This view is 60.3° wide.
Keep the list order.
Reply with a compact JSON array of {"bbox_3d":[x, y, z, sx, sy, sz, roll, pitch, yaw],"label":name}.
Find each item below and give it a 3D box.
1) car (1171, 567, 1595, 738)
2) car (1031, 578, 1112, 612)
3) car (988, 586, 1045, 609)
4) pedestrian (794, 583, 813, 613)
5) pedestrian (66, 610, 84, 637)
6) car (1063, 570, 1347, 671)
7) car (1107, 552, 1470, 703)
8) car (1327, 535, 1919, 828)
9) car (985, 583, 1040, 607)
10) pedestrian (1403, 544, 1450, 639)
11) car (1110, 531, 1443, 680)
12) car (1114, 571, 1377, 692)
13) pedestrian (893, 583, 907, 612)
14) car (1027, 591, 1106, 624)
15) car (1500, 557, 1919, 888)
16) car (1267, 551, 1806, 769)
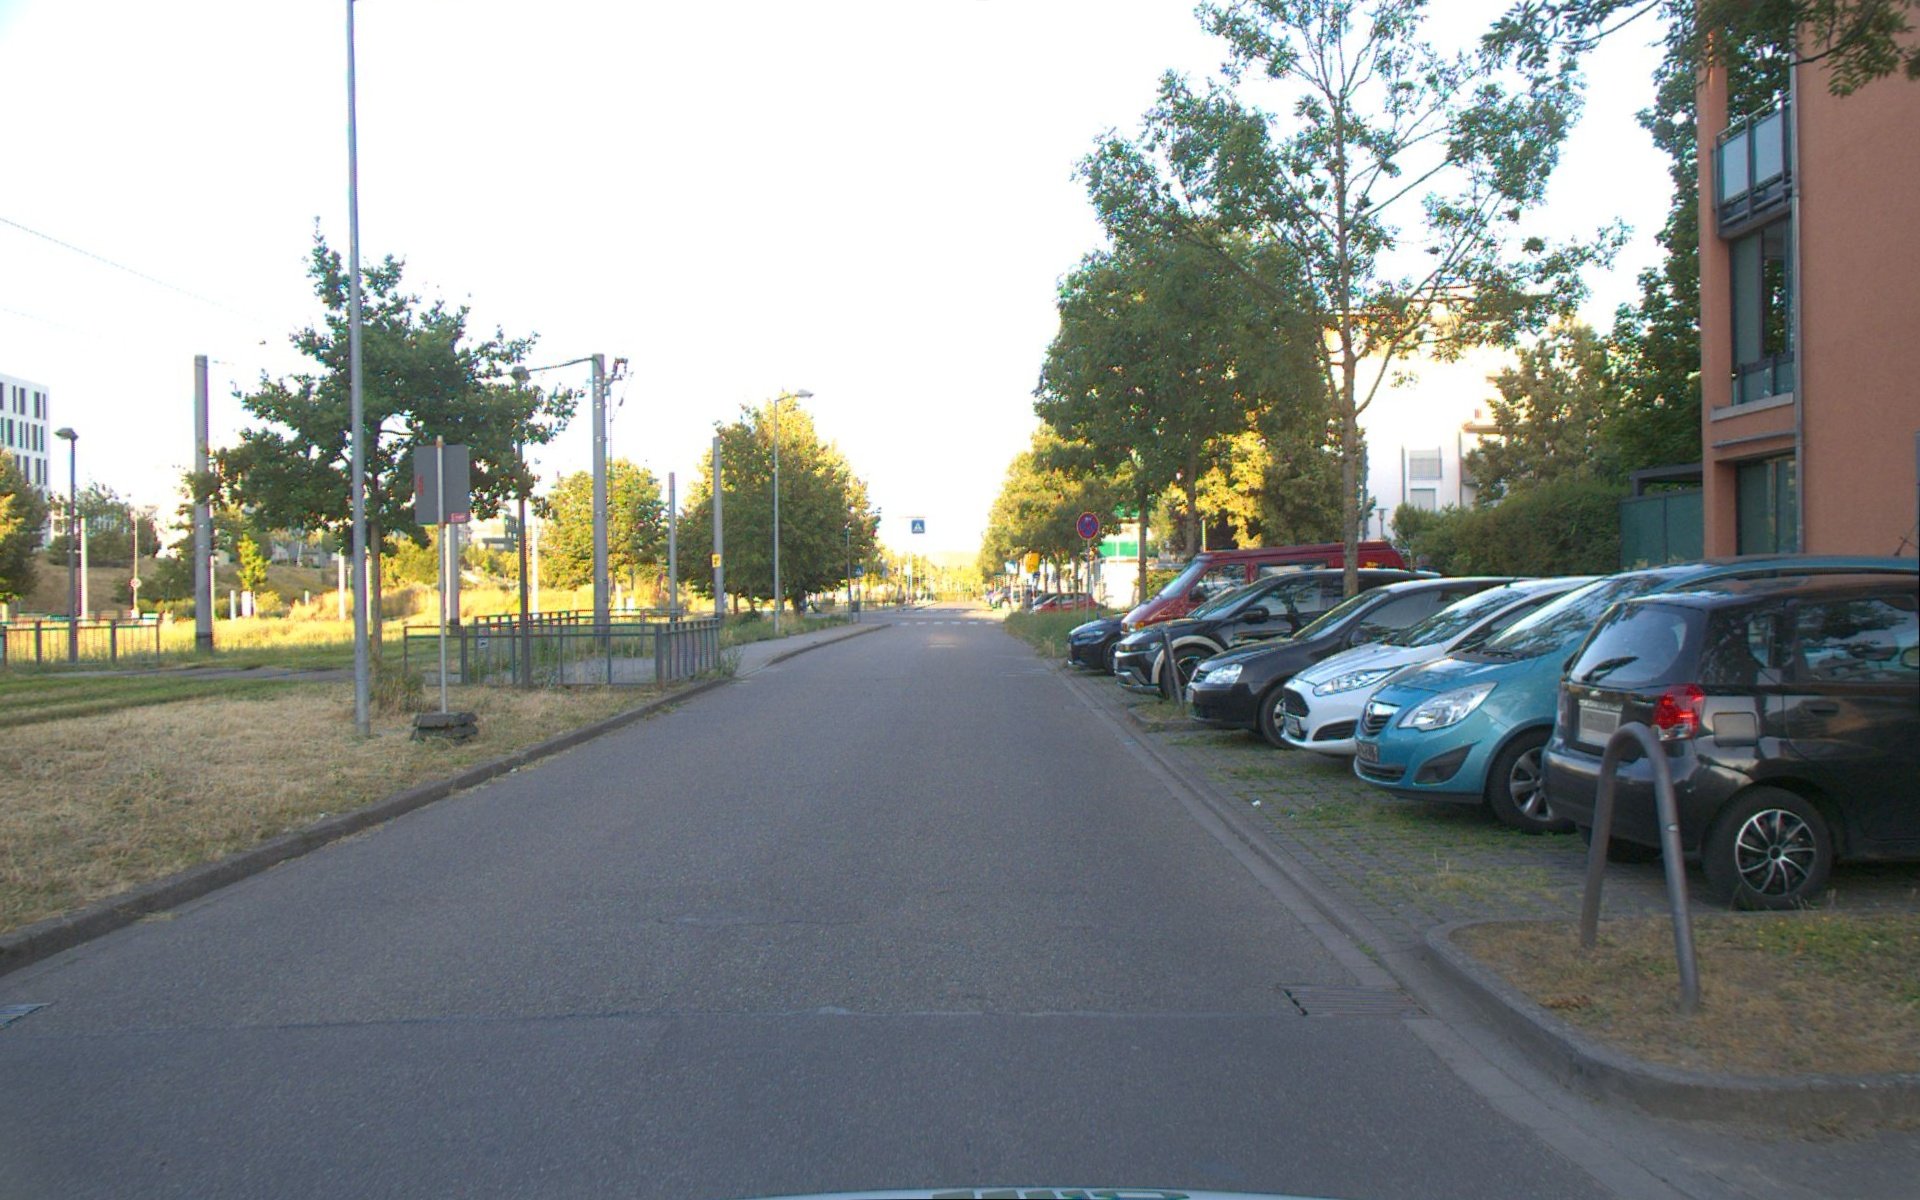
[{"bbox_3d":[4.003,0.507,16.037,3.696,1.522,1.539,-1,-2,0],"label":"car"},{"bbox_3d":[5.323,-0.255,79.440,3.726,1.535,1.678,-1,0,-2],"label":"car"},{"bbox_3d":[4.408,-0.194,129.905,4.392,1.624,2.000,-1,0,1],"label":"car"},{"bbox_3d":[-9.199,-0.095,97.250,1.001,1.723,0.757,-1,0,-14],"label":"pedestrian"},{"bbox_3d":[-60.329,1.629,112.769,0.770,1.817,0.814,-1,0,3],"label":"pedestrian"},{"bbox_3d":[4.123,0.336,28.342,4.573,1.584,1.811,-1,0,0],"label":"car"},{"bbox_3d":[4.017,0.327,20.709,4.129,1.596,1.792,-3,0,0],"label":"car"},{"bbox_3d":[4.550,0.460,10.635,3.967,1.596,1.673,-2,0,0],"label":"car"},{"bbox_3d":[4.829,-0.443,153.143,4.905,2.081,2.248,-1,0,-5],"label":"car"},{"bbox_3d":[8.826,-0.163,31.310,0.655,1.773,0.699,-1,0,0],"label":"pedestrian"},{"bbox_3d":[4.850,0.078,25.909,4.818,2.154,2.017,-1,0,1],"label":"car"},{"bbox_3d":[4.037,0.431,23.761,3.453,1.490,1.615,-3,0,0],"label":"car"},{"bbox_3d":[-4.368,-0.176,120.325,0.828,2.049,0.944,-1,0,6],"label":"pedestrian"},{"bbox_3d":[5.280,0.382,82.242,3.726,1.535,1.678,-1,0,-2],"label":"car"},{"bbox_3d":[4.900,0.539,8.543,3.676,1.499,1.612,-1,0,-5],"label":"car"},{"bbox_3d":[4.540,0.448,13.399,3.797,1.596,1.620,-1,0,0],"label":"car"}]
